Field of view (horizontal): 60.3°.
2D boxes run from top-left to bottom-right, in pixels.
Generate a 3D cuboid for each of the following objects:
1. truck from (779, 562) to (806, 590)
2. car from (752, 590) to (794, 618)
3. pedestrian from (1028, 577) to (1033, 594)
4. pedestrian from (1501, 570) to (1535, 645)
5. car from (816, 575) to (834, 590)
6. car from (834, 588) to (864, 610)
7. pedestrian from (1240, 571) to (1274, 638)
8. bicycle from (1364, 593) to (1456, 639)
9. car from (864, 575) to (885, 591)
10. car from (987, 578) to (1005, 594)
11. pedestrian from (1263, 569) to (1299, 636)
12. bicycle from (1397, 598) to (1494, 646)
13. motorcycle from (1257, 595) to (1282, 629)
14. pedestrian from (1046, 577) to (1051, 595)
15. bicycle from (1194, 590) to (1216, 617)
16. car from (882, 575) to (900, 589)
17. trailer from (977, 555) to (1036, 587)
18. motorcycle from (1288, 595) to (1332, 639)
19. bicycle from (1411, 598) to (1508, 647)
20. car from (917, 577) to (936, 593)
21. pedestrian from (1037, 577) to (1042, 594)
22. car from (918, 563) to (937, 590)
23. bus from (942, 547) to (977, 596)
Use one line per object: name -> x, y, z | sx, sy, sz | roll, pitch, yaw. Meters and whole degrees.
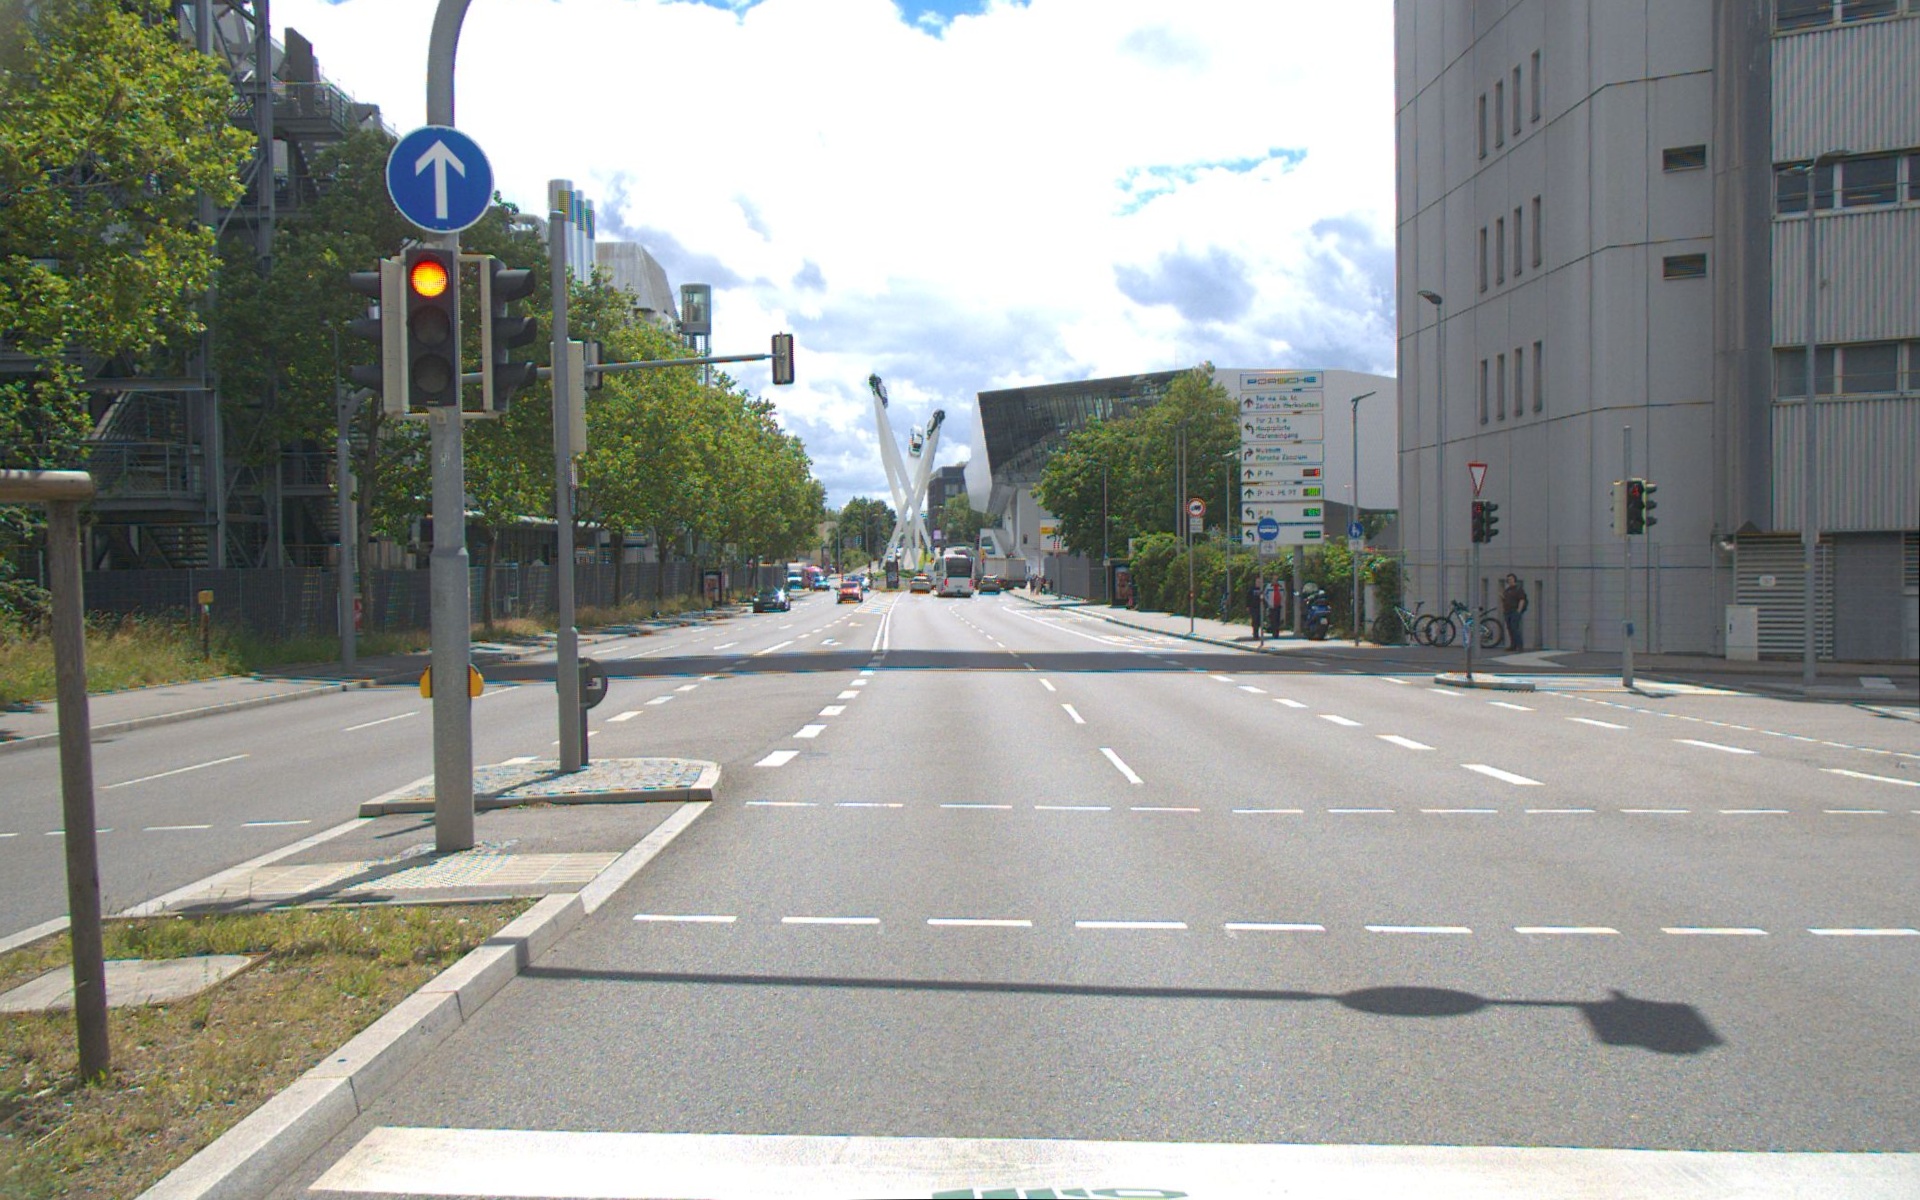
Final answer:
truck -> -21.073, -2.967, 208.427 | 2.538, 3.382, 7.078 | 1, 0, 0
car -> -10.921, 0.206, 96.996 | 1.878, 1.514, 4.772 | -2, 0, 0
pedestrian -> 5.856, -1.203, 138.041 | 0.378, 1.446, 0.423 | 1, -1, 0
pedestrian -> 12.599, 0.159, 37.328 | 0.643, 1.669, 0.534 | 1, -1, 27
car -> -14.295, -1.816, 175.417 | 1.761, 1.601, 3.998 | 0, 0, -2
car -> -7.638, -0.096, 114.127 | 1.733, 1.445, 3.701 | -2, 0, 0
pedestrian -> 8.354, 0.118, 46.523 | 0.631, 1.825, 0.709 | -3, 1, -16
bicycle -> 11.152, 0.387, 41.025 | 2.180, 1.105, 0.475 | 1, -1, 35
car -> -8.192, -1.665, 158.488 | 1.733, 1.445, 3.701 | -2, 0, 0
car -> 3.155, -1.260, 146.197 | 1.525, 1.295, 3.701 | -2, 0, 1
pedestrian -> 9.037, 0.066, 46.567 | 0.680, 1.825, 0.709 | -3, 1, -16
bicycle -> 11.638, 0.529, 39.700 | 2.180, 1.105, 0.475 | 1, -1, 35
motorcycle -> 9.740, 0.370, 52.141 | 0.448, 1.040, 1.913 | 1, 0, 1
pedestrian -> 7.441, -1.178, 138.556 | 0.378, 1.446, 0.423 | 1, -1, 0
bicycle -> 9.671, 0.154, 65.401 | 0.410, 1.040, 1.910 | 1, 0, -5
car -> -6.490, -1.676, 155.677 | 1.525, 1.295, 3.701 | -2, 0, 0
trailer -> 4.909, -3.005, 172.209 | 3.250, 3.047, 10.380 | 1, 0, 18
motorcycle -> 9.548, 0.452, 45.154 | 0.410, 1.186, 1.951 | 1, 0, -11
bicycle -> 11.751, 0.528, 38.968 | 2.149, 1.105, 0.475 | 1, -1, 35
car -> -2.973, -1.339, 148.634 | 1.525, 1.295, 3.701 | -2, 0, 1
pedestrian -> 6.579, -1.208, 137.695 | 0.378, 1.446, 0.423 | 1, -1, 0
car -> -3.395, -2.451, 171.317 | 1.807, 2.669, 3.998 | 1, 0, -3
bus -> -0.074, -2.281, 134.877 | 2.730, 3.750, 6.942 | 1, 0, 0
